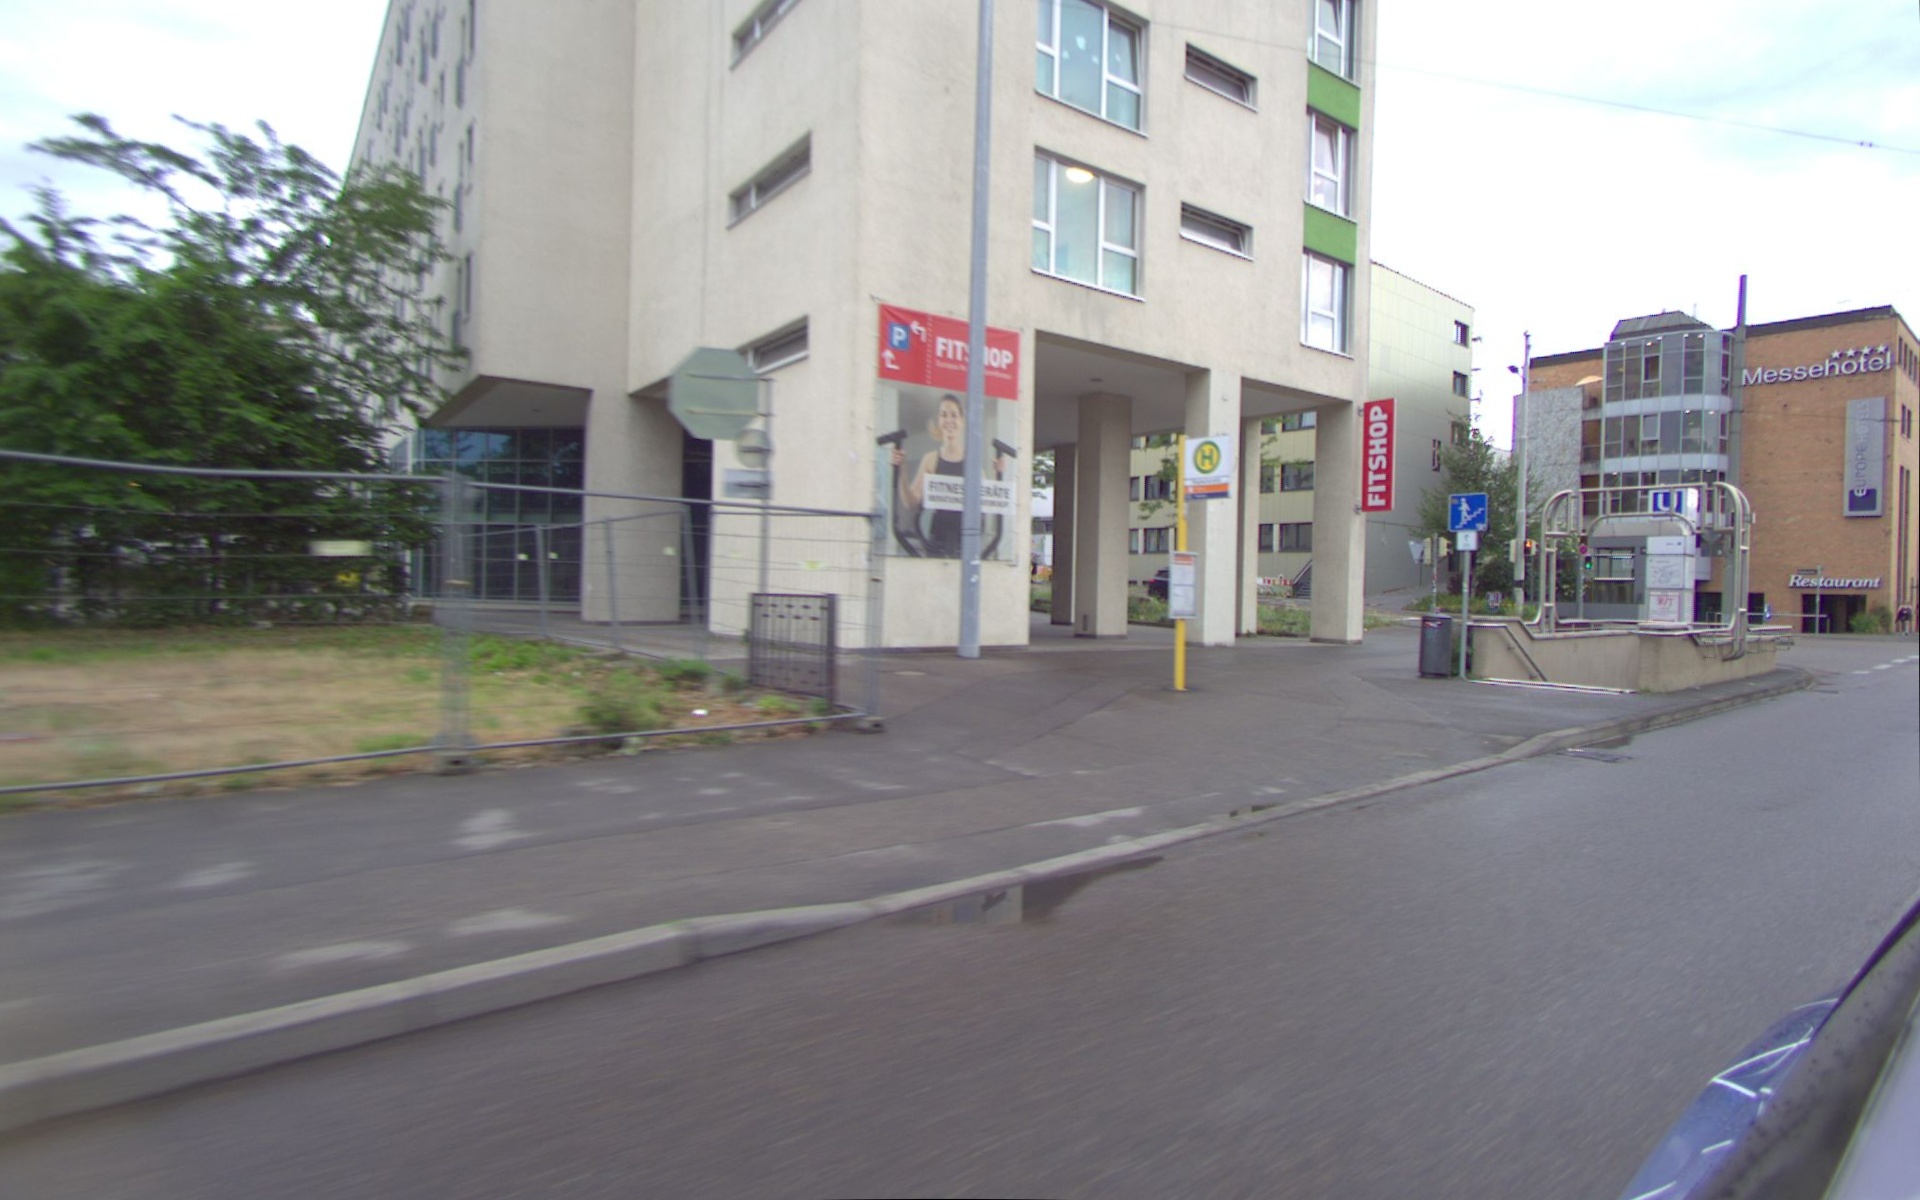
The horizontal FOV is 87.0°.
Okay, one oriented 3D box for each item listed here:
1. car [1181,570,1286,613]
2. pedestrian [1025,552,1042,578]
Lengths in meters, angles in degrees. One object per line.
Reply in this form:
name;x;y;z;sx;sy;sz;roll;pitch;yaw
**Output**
car;11.831;-0.424;43.941;1.963;1.592;4.001;-2;5;-37
pedestrian;5.126;-2.456;70.417;0.744;1.752;0.942;-2;5;-38
